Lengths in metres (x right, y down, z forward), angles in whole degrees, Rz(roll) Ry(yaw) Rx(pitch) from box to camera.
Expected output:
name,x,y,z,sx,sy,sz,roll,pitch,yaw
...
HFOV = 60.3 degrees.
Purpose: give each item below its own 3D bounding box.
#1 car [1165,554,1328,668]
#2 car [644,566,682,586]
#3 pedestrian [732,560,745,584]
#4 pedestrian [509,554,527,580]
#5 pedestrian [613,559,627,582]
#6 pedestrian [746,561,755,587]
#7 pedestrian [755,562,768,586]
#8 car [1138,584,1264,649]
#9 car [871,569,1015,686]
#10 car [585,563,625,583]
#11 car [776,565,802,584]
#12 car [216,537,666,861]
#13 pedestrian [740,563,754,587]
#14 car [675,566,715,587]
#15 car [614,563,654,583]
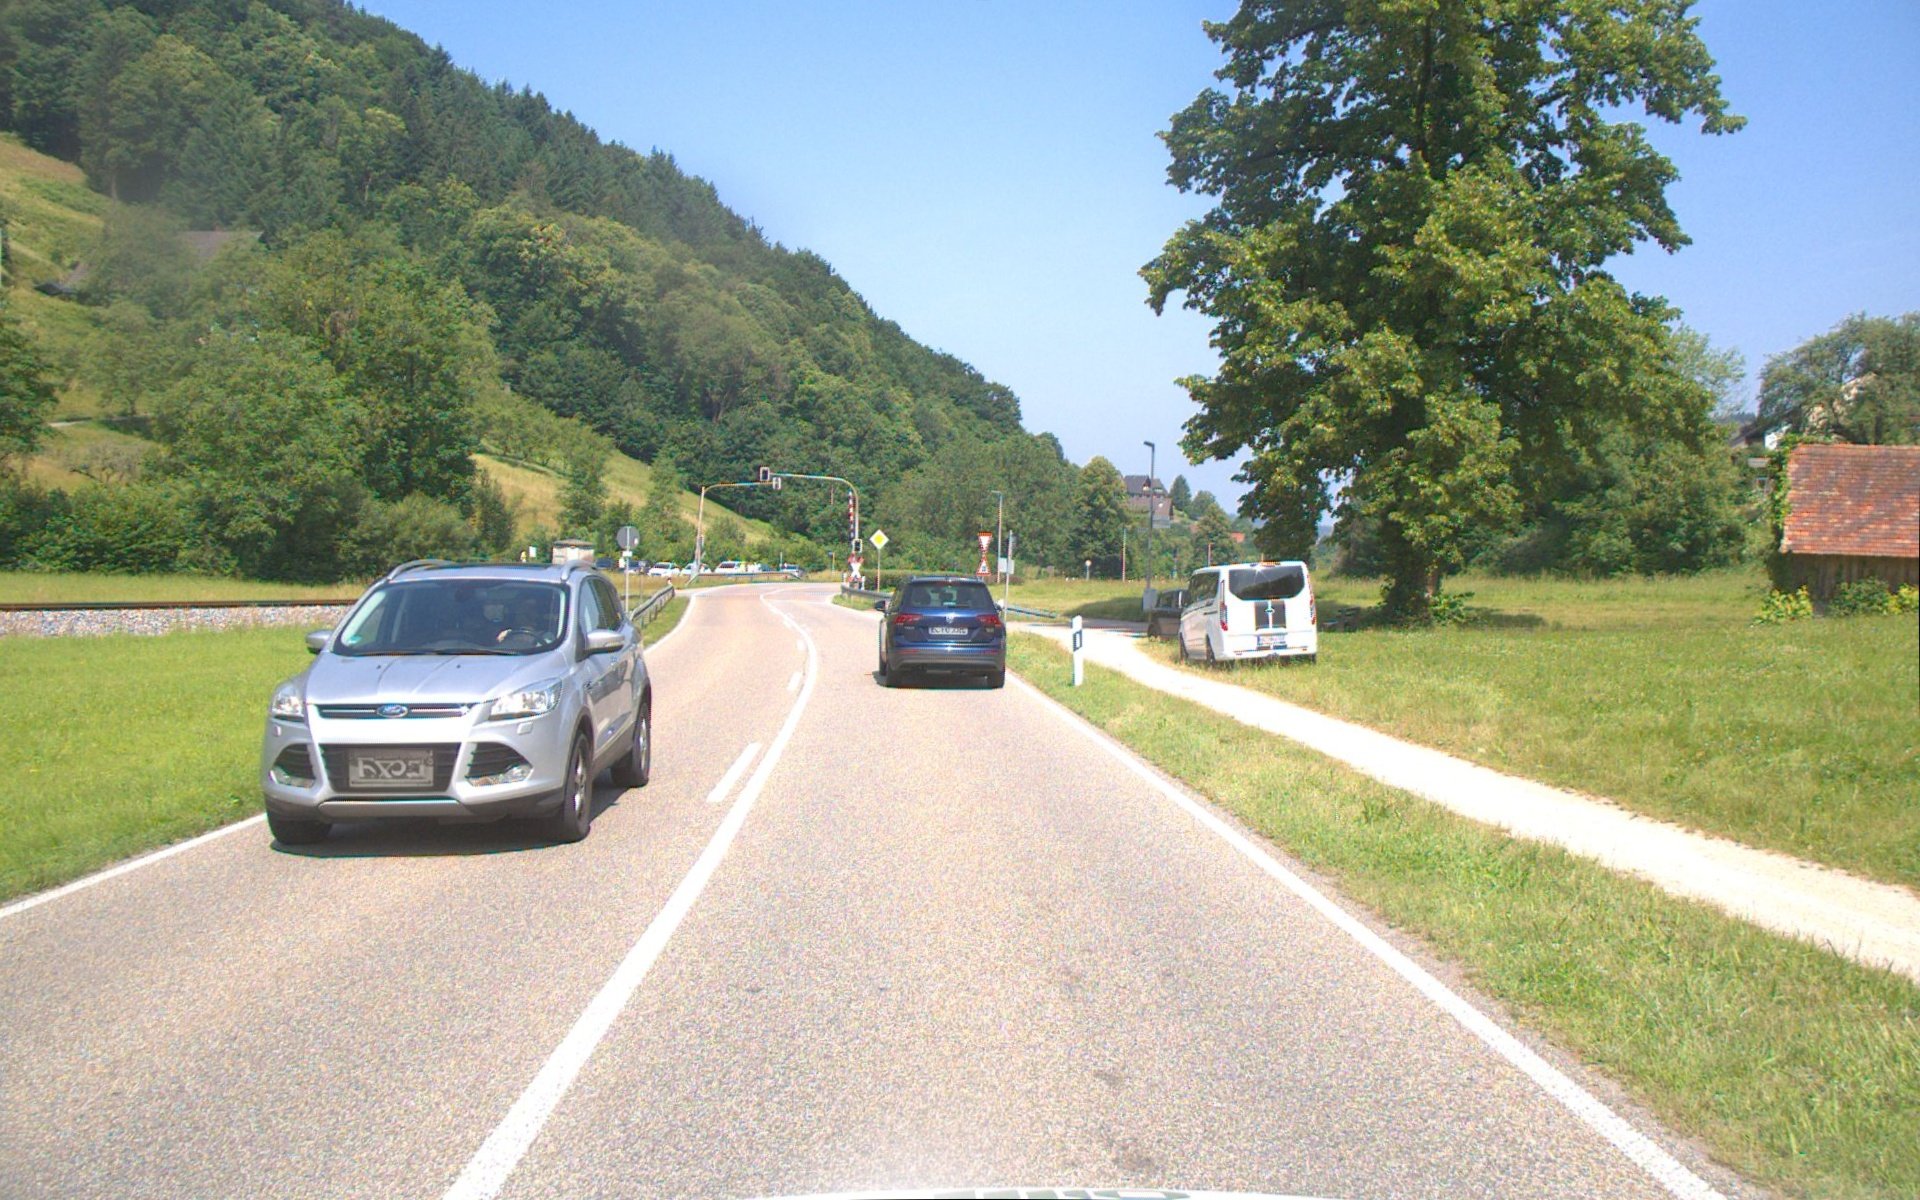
name,x,y,z,sx,sy,sz,roll,pitch,yaw
car,5.402,0.162,31.872,1.960,1.880,4.866,-4,1,-3
car,-24.286,-1.956,135.355,1.951,1.527,4.525,1,1,5
pedestrian,-17.049,-2.150,127.307,0.771,1.874,0.699,1,1,18
pedestrian,-35.078,-2.604,131.201,1.103,2.004,0.862,0,0,23
pedestrian,-26.614,-2.299,129.372,0.934,1.826,1.000,0,1,-2
pedestrian,-16.294,-2.013,128.462,0.647,1.989,0.533,0,1,-3
pedestrian,-15.428,-2.044,128.699,0.637,1.891,0.767,0,0,41
car,5.853,0.407,40.585,1.647,1.482,3.698,-1,0,-17
car,-0.352,0.375,25.786,1.817,1.678,4.134,0,1,-7
car,-29.146,-2.209,136.016,1.951,1.527,4.525,1,1,5
car,-13.764,-2.071,133.432,1.789,1.527,4.276,0,1,-2
car,-3.177,0.508,11.042,1.877,1.744,4.157,0,1,-3
pedestrian,-16.526,-1.958,128.564,0.755,1.827,0.791,0,0,34
car,-21.649,-1.942,135.353,1.951,1.670,4.906,1,1,7
car,-26.723,-2.236,135.648,1.952,1.526,4.525,3,1,5
